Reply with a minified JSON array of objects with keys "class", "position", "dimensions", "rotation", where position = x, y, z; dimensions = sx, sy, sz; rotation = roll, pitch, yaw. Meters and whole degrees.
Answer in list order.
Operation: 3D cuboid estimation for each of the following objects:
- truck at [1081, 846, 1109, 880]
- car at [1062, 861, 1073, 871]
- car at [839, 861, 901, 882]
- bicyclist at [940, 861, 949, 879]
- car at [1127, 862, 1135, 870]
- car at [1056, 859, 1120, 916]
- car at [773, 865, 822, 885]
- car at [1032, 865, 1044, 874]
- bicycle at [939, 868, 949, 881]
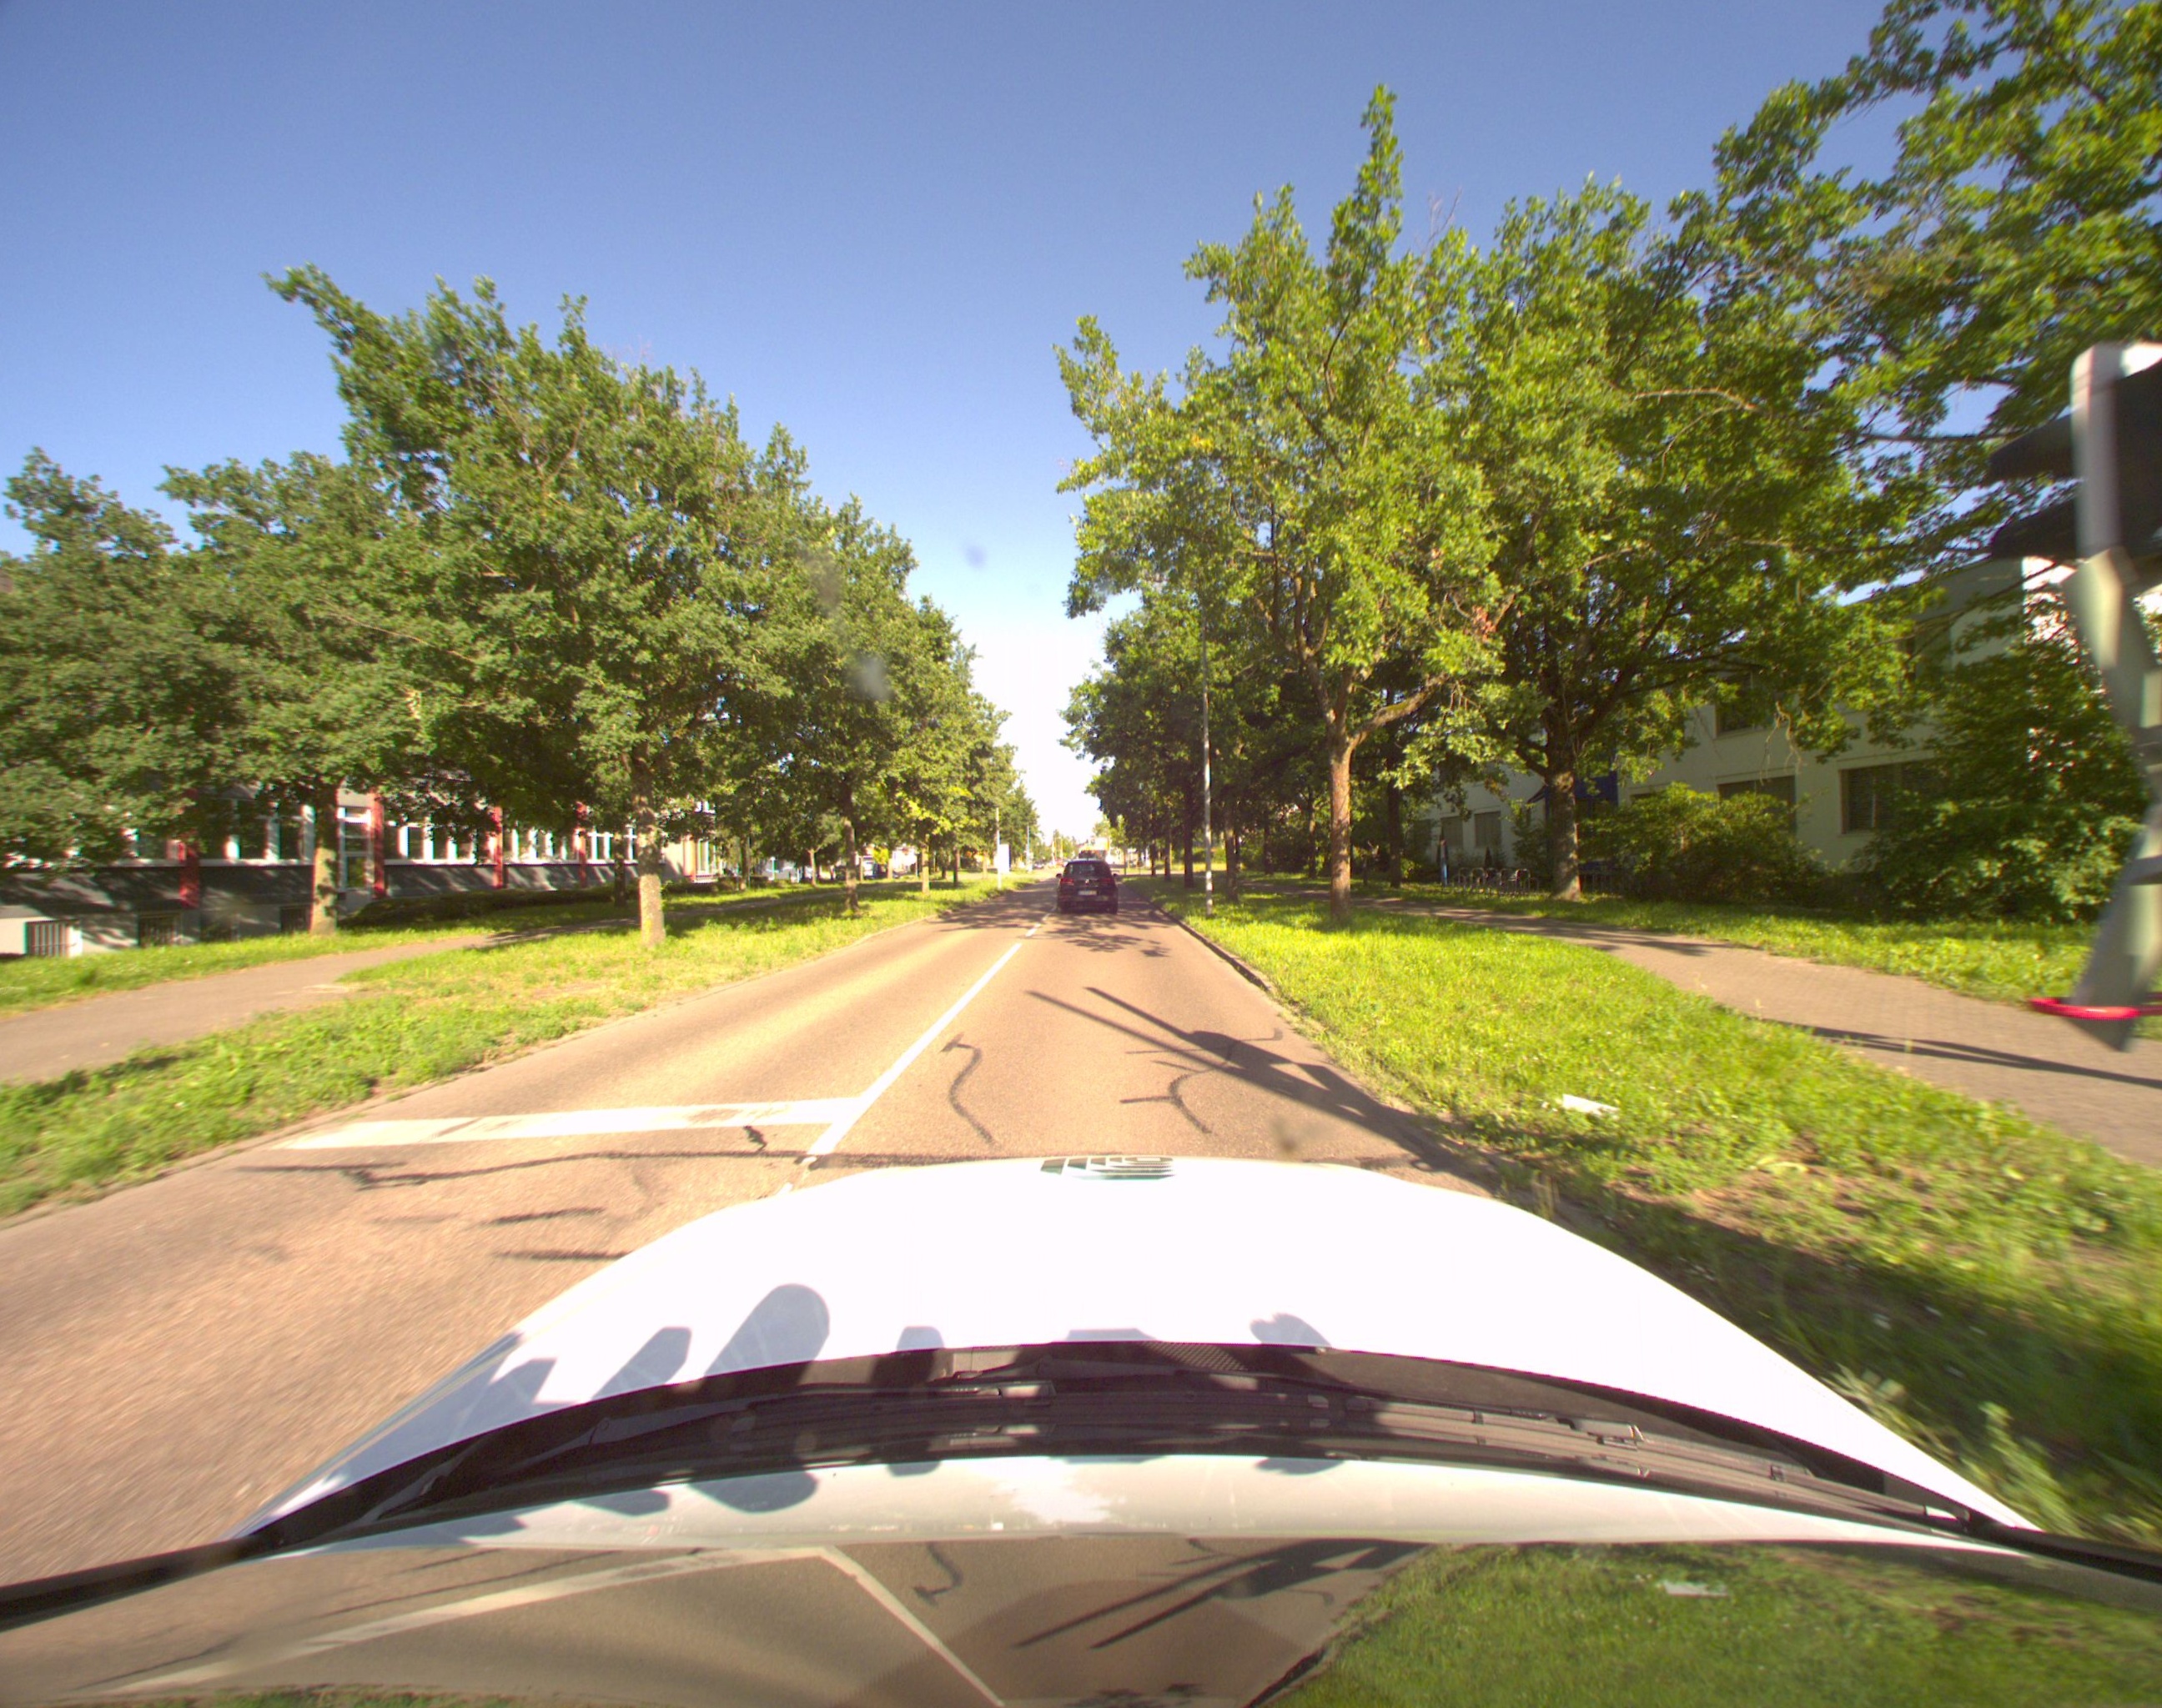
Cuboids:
[{"class":"truck","position":[1.491,0.939,83.793],"dimensions":[2.501,3.244,8.159],"rotation":[-1,-1,3]},{"class":"car","position":[-2.741,2.429,162.904],"dimensions":[1.990,2.014,3.994],"rotation":[0,-1,-4]},{"class":"car","position":[-21.252,1.748,82.220],"dimensions":[5.788,2.014,1.994],"rotation":[0,-1,-9]},{"class":"bicyclist","position":[-14.156,1.660,84.574],"dimensions":[0.684,1.831,0.934],"rotation":[0,-1,1]},{"class":"car","position":[8.880,2.079,144.221],"dimensions":[1.446,1.406,2.857],"rotation":[0,-1,2]},{"class":"car","position":[0.291,0.996,25.590],"dimensions":[1.774,1.633,4.004],"rotation":[0,-1,4]},{"class":"car","position":[-24.045,1.741,69.076],"dimensions":[3.341,1.643,2.004],"rotation":[0,-1,6]},{"class":"car","position":[-7.905,2.870,149.363],"dimensions":[1.987,1.455,4.000],"rotation":[-1,-1,1]},{"class":"bicycle","position":[-14.207,2.106,84.543],"dimensions":[0.714,1.321,1.991],"rotation":[0,-1,1]}]
